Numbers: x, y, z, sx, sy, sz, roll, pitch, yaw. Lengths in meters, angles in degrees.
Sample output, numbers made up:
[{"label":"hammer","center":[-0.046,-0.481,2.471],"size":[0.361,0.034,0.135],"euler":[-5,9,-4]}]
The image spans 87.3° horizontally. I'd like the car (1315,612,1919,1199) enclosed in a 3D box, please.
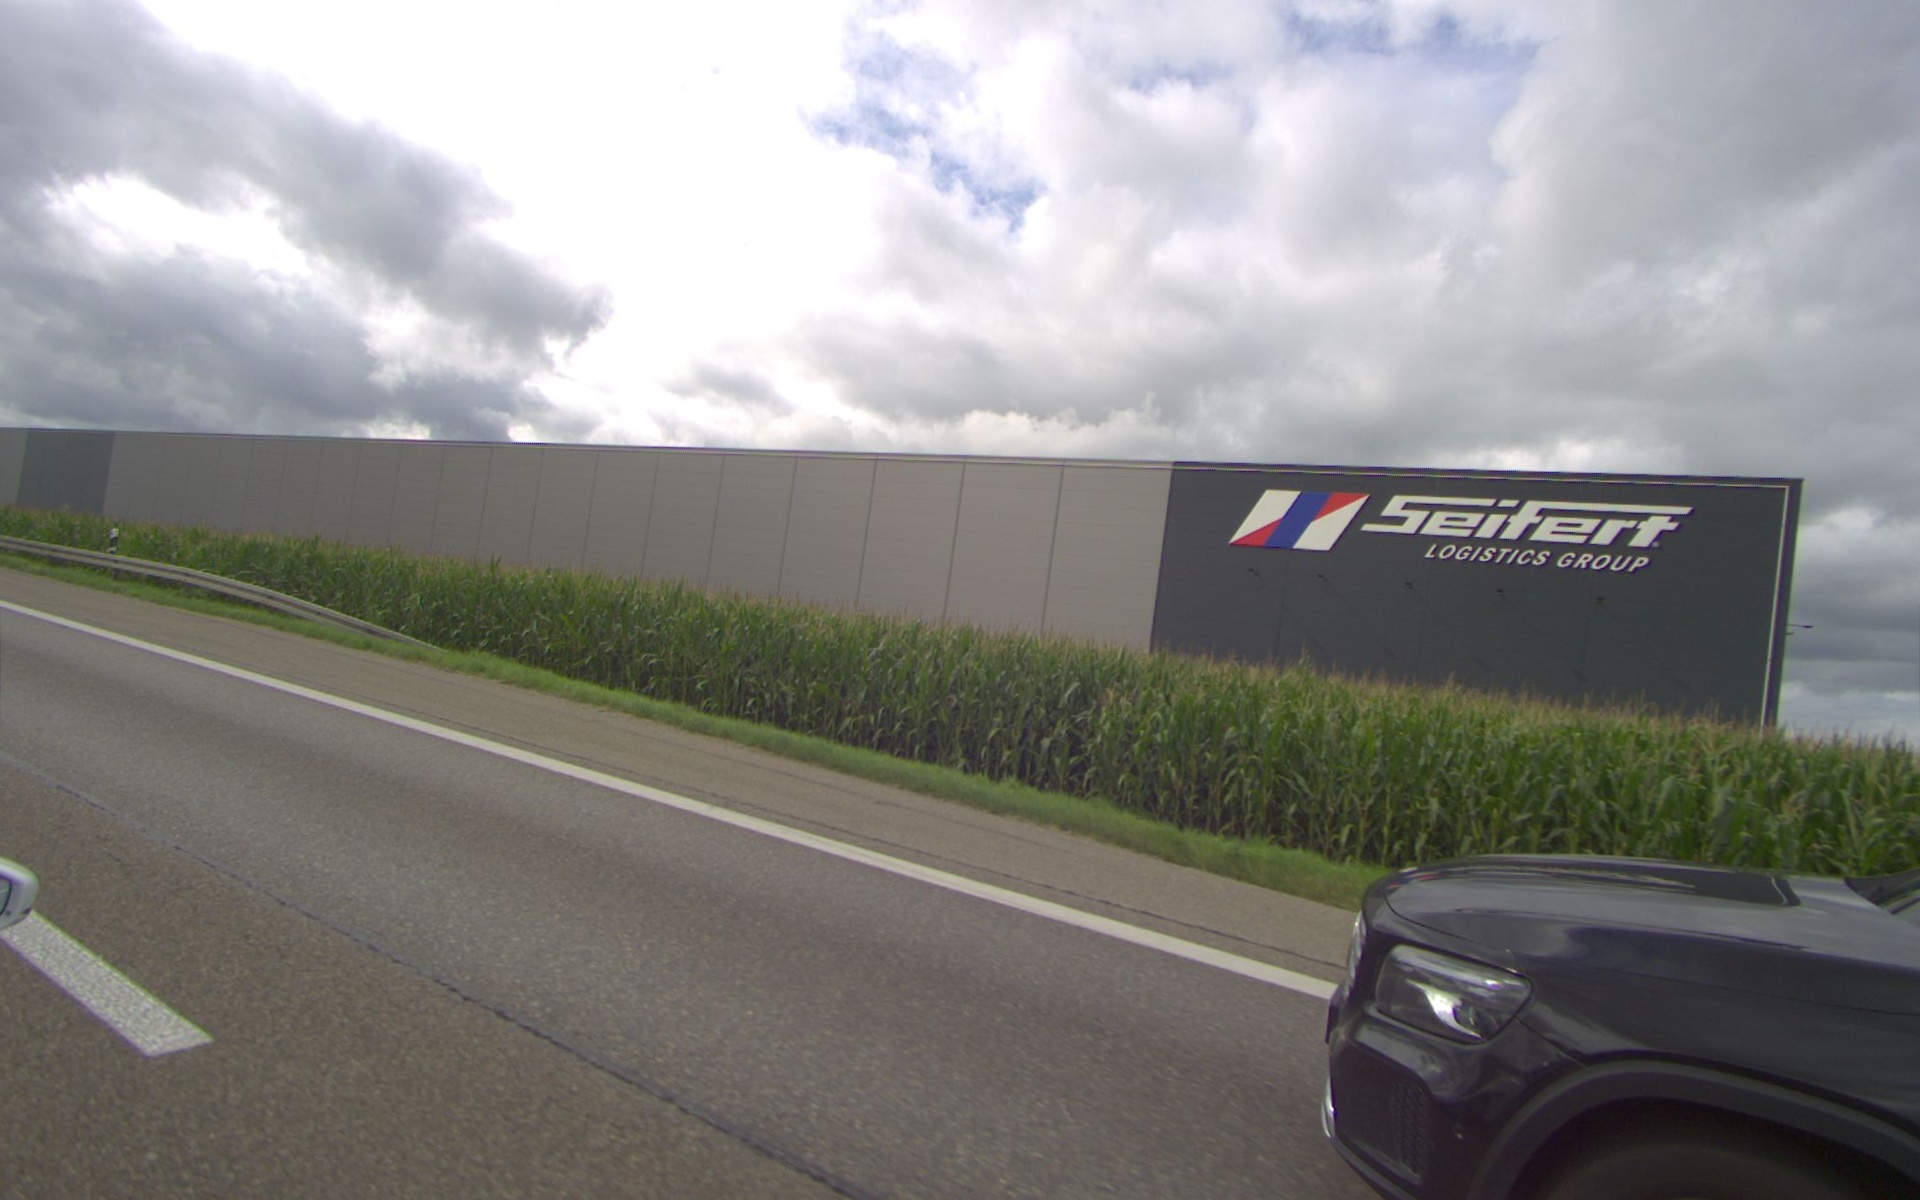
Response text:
[{"label":"car","center":[3.142,1.118,1.936],"size":[4.288,1.628,1.837],"euler":[6,-1,32]}]
